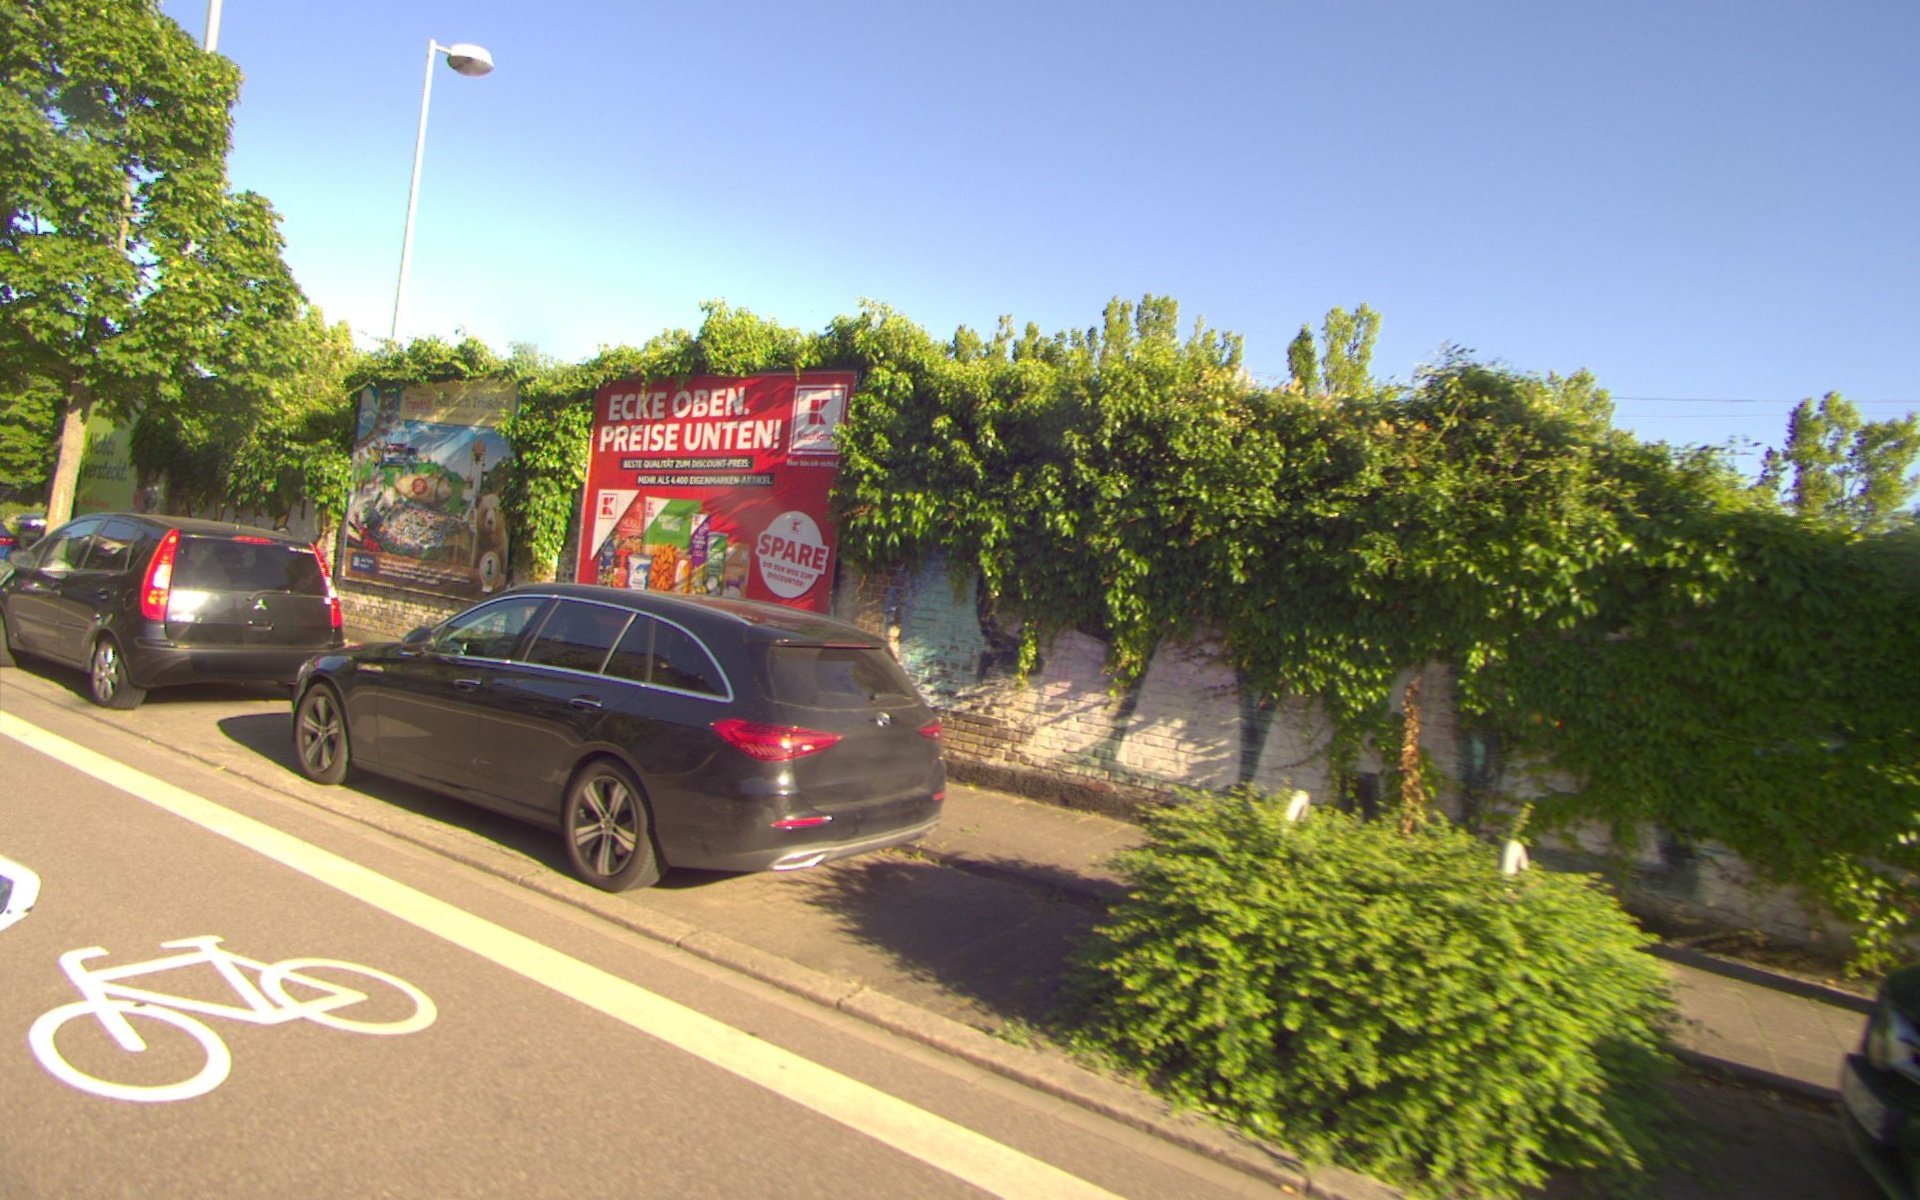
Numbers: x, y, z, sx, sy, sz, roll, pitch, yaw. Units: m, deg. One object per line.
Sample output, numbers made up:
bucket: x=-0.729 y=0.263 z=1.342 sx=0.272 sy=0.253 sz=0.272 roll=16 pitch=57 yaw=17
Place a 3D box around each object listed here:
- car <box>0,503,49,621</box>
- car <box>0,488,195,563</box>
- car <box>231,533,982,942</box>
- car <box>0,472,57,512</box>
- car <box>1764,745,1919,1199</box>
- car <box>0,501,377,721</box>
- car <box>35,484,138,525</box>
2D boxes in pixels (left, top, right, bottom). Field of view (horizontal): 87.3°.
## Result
car: x=-14.430 y=-0.753 z=13.594 sx=4.266 sy=1.481 sz=1.732 roll=6 pitch=-2 yaw=29
car: x=-24.140 y=-2.057 z=28.282 sx=1.729 sy=1.416 sz=3.712 roll=6 pitch=-2 yaw=30
car: x=-2.347 y=0.571 z=6.220 sx=4.565 sy=1.469 sz=1.827 roll=6 pitch=-1 yaw=32
car: x=-66.089 y=-7.658 z=70.028 sx=2.103 sy=2.268 sz=4.202 roll=7 pitch=-1 yaw=19
car: x=4.645 y=1.422 z=1.929 sx=4.526 sy=1.501 sz=1.828 roll=6 pitch=-2 yaw=32
car: x=-7.390 y=0.013 z=9.220 sx=3.750 sy=1.512 sz=1.826 roll=6 pitch=1 yaw=30
car: x=-58.397 y=-6.352 z=67.374 sx=1.926 sy=1.836 sz=4.700 roll=7 pitch=-2 yaw=23
